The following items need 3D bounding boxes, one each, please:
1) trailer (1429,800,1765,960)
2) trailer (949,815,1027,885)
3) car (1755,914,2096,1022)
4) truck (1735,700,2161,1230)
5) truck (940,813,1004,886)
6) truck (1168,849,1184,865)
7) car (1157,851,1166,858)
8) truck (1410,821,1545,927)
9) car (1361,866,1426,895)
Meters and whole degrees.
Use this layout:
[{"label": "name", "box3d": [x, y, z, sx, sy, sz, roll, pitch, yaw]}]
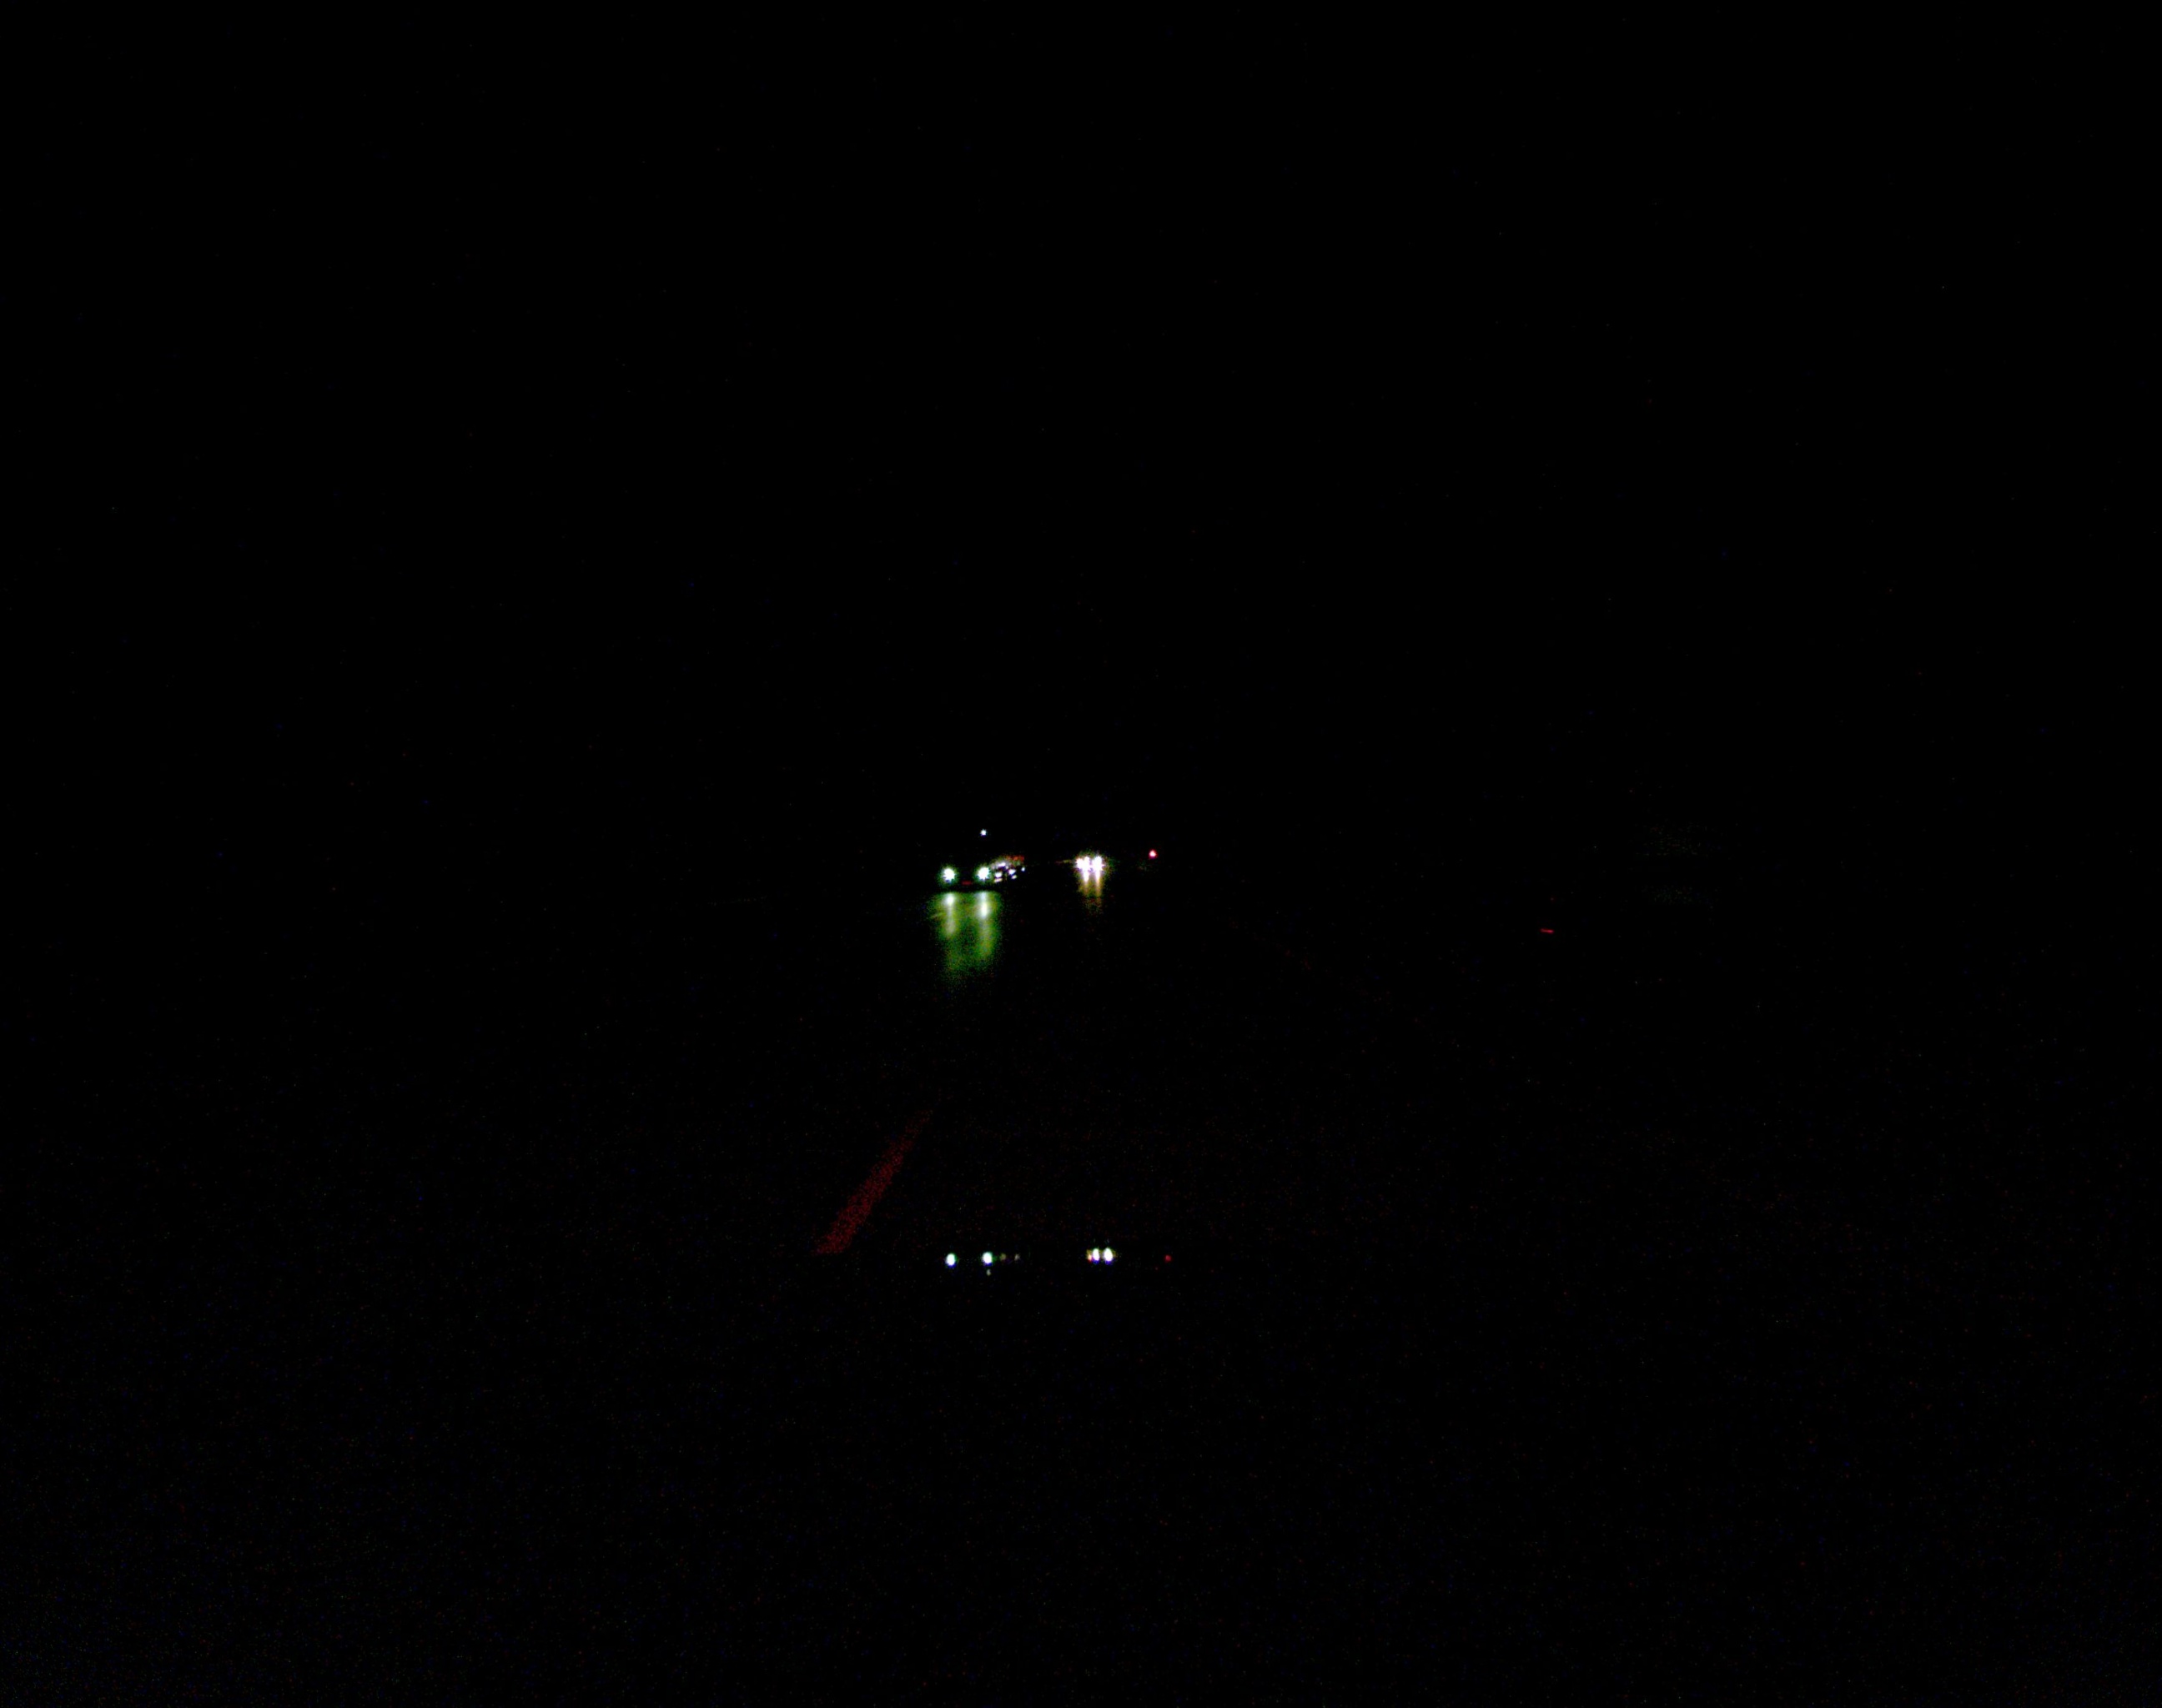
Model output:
[{"label": "trailer", "box3d": [17.574, 0.693, 28.293, 3.155, 4.290, 14.814, -2, 0, 4]}, {"label": "trailer", "box3d": [-5.876, -0.237, 51.421, 2.839, 3.951, 15.765, -1, 0, 2]}, {"label": "car", "box3d": [16.429, 2.128, 15.231, 1.998, 1.482, 4.403, -1, 0, 2]}, {"label": "truck", "box3d": [8.863, 0.743, 5.479, 2.609, 3.722, 6.755, -2, 1, 2]}, {"label": "truck", "box3d": [-6.133, -0.247, 43.376, 2.900, 3.948, 4.001, -1, 0, 2]}, {"label": "truck", "box3d": [22.578, 0.739, 180.102, 2.661, 3.570, 8.549, -1, 0, 0]}, {"label": "car", "box3d": [23.822, 0.216, 224.530, 1.999, 2.002, 3.999, -2, 1, -2]}, {"label": "truck", "box3d": [17.880, 0.801, 34.828, 3.094, 4.291, 6.283, -2, 1, 4]}, {"label": "car", "box3d": [17.770, 1.457, 43.482, 1.998, 1.482, 4.403, -1, 0, 2]}]
